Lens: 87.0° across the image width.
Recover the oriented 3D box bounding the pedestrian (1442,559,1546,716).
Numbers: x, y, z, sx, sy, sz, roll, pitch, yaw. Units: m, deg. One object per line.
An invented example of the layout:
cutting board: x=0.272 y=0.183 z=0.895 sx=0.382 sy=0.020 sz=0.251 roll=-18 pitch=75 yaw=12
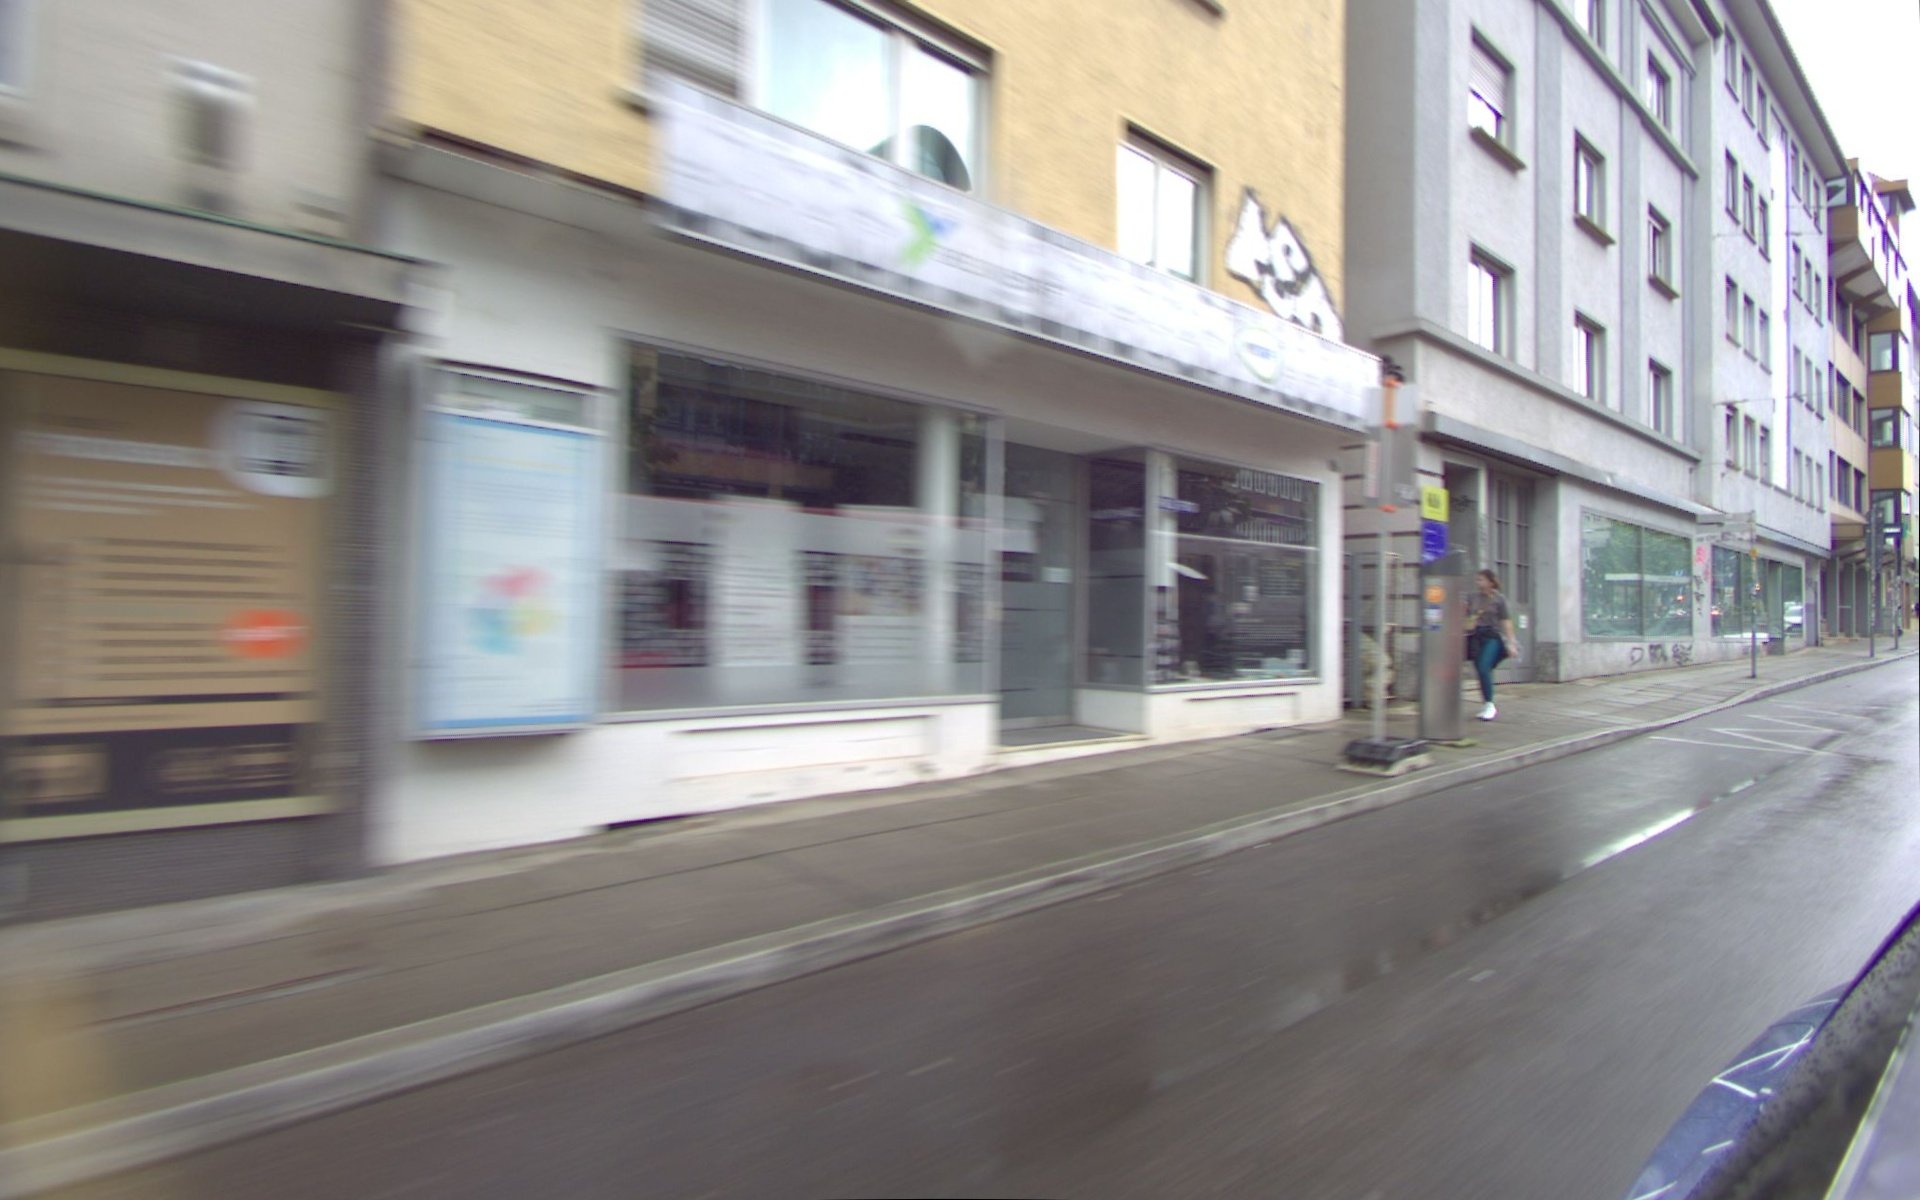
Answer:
pedestrian: x=5.995 y=0.410 z=11.370 sx=0.708 sy=1.681 sz=0.792 roll=0 pitch=-2 yaw=-41
